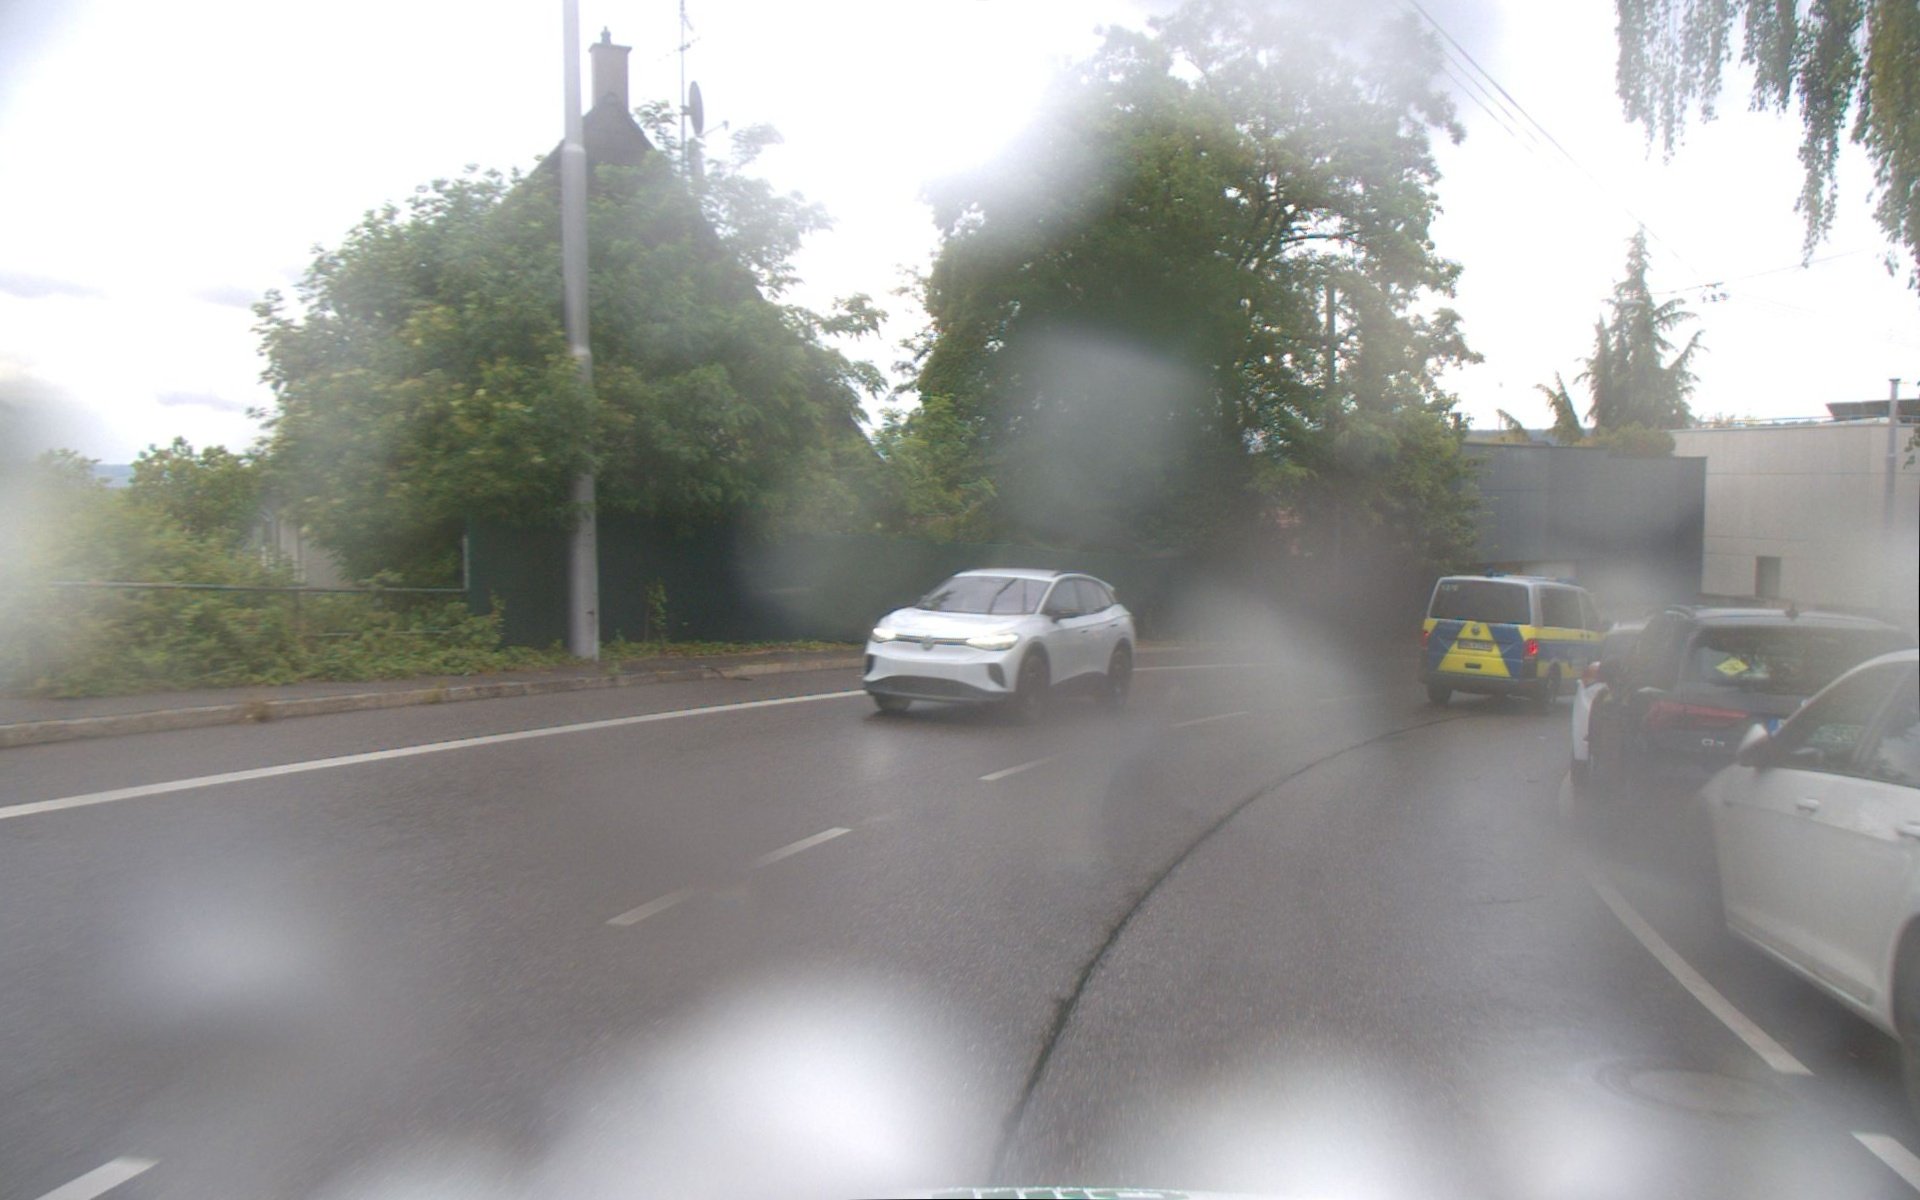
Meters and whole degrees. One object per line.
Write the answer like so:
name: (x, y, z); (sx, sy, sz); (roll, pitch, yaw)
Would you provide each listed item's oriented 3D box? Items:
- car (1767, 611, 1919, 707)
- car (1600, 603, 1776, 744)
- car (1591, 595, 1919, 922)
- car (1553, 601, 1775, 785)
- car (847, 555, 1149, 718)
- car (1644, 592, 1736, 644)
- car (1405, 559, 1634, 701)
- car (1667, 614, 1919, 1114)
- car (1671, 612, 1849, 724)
car: (15.017, 0.947, 27.910); (1.656, 1.497, 3.718); (0, 0, 40)
car: (8.890, 0.815, 20.054); (1.589, 1.531, 3.598); (0, 0, 30)
car: (4.913, 0.773, 10.337); (1.590, 1.545, 4.329); (0, 1, 18)
car: (6.616, 0.767, 15.609); (1.691, 1.490, 4.029); (0, 0, 23)
car: (0.567, 0.340, 18.901); (1.790, 1.635, 4.281); (0, 1, 27)
car: (22.562, 0.524, 51.236); (1.851, 1.323, 4.004); (4, 3, 13)
car: (8.831, 0.483, 25.863); (1.962, 1.926, 4.550); (4, 1, 37)
car: (3.927, 0.836, 5.794); (1.752, 1.471, 4.109); (3, 0, 11)
car: (11.625, 0.910, 23.911); (1.686, 1.460, 4.054); (0, 0, 35)
